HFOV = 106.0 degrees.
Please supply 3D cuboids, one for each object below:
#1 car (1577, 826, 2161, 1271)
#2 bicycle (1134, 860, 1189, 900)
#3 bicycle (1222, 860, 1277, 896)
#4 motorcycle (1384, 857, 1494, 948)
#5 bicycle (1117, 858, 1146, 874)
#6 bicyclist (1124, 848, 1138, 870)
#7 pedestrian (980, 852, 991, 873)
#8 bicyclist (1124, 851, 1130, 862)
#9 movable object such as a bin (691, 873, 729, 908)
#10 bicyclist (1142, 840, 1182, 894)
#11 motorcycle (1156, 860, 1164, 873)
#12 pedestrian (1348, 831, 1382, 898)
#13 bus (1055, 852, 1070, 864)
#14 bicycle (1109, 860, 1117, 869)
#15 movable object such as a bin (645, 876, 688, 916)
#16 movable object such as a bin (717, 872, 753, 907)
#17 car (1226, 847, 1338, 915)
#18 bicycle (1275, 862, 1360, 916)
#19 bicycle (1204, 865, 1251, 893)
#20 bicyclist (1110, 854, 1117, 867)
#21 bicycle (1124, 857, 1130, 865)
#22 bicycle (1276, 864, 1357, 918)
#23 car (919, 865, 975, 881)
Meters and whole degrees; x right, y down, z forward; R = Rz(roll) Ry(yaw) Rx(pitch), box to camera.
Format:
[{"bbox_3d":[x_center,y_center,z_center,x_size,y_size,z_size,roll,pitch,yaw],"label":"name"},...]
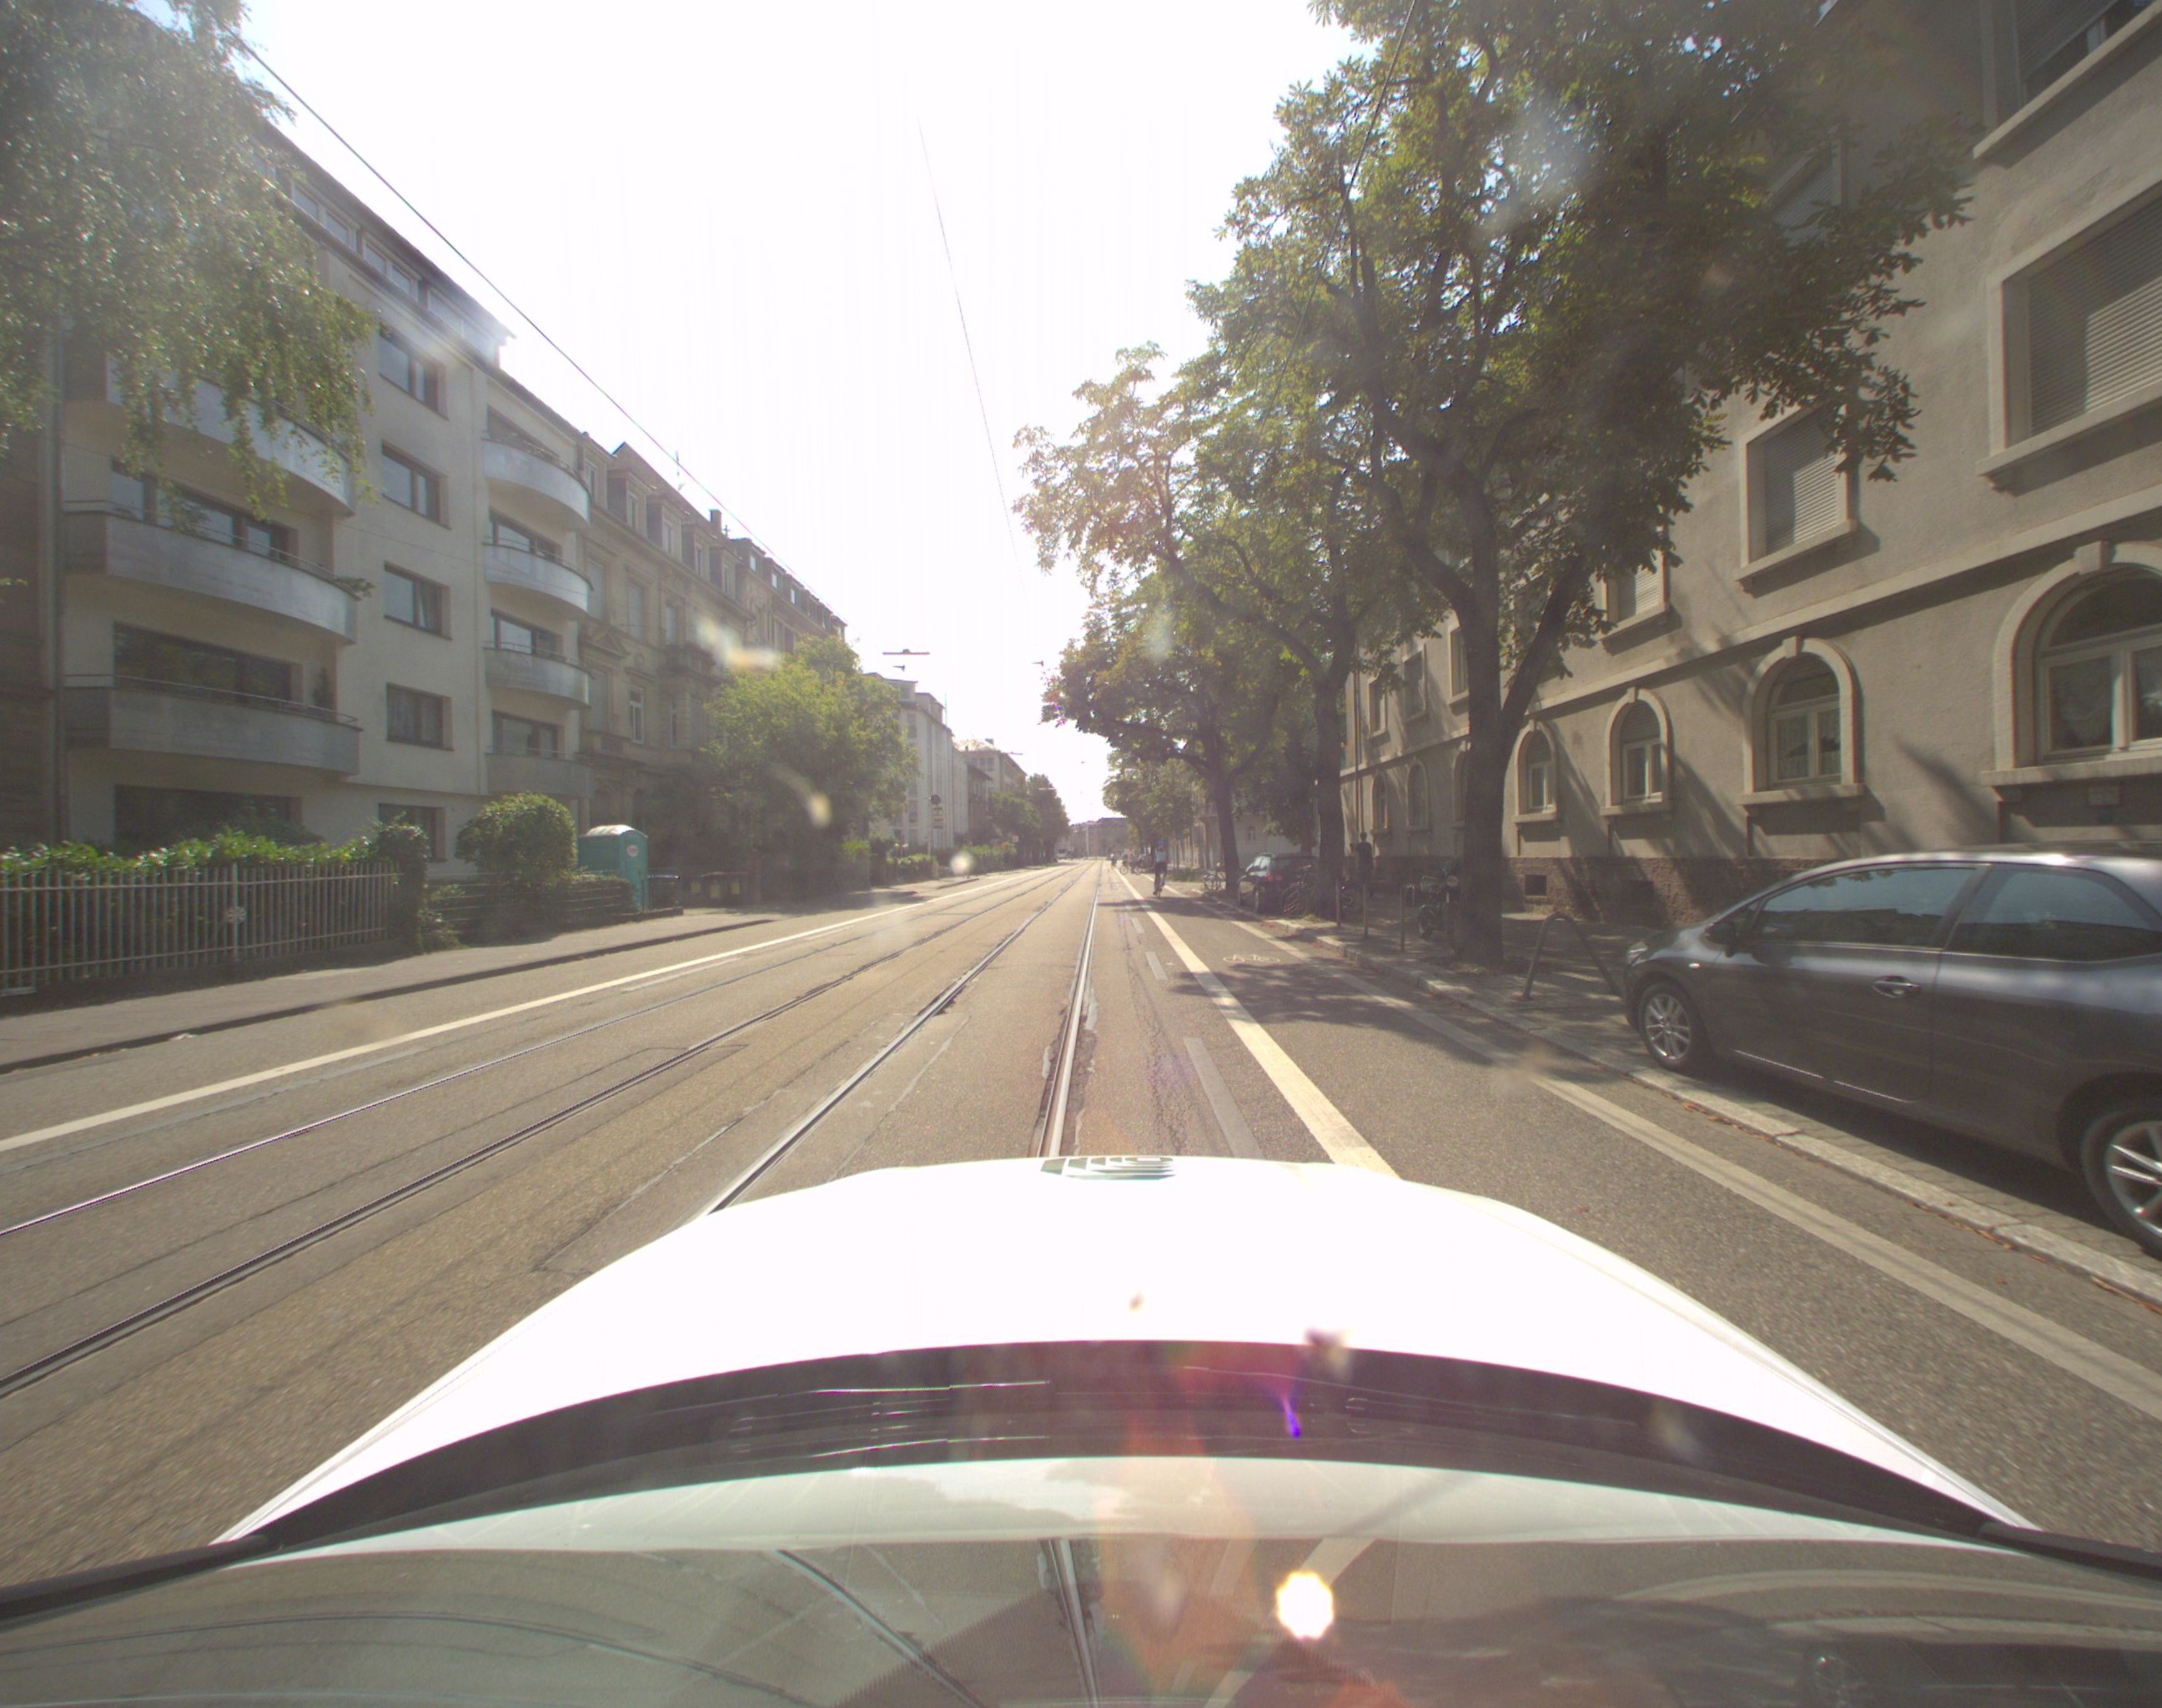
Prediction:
[{"bbox_3d":[4.734,0.645,4.260,1.834,1.532,4.116,-2,1,1],"label":"car"},{"bbox_3d":[2.879,0.891,28.749,1.138,1.269,2.727,-2,0,23],"label":"bicycle"},{"bbox_3d":[5.507,0.787,26.721,1.713,1.137,0.377,-1,-1,7],"label":"bicycle"},{"bbox_3d":[5.416,0.682,12.484,0.708,1.255,2.176,-1,0,0],"label":"motorcycle"},{"bbox_3d":[3.763,0.878,60.460,2.016,1.151,0.790,-1,-1,25],"label":"bicycle"},{"bbox_3d":[3.709,0.388,60.486,0.816,1.643,0.790,-1,-1,25],"label":"bicyclist"},{"bbox_3d":[-8.333,0.723,71.154,0.776,1.756,1.041,-2,-1,2],"label":"pedestrian"},{"bbox_3d":[5.281,0.272,93.662,0.576,1.279,0.472,-1,-1,3],"label":"bicyclist"},{"bbox_3d":[-11.785,1.147,25.884,0.783,1.076,0.804,0,-1,4],"label":"movable object such as a bin"},{"bbox_3d":[2.849,0.458,28.724,1.115,1.837,0.961,-2,-1,23],"label":"bicyclist"},{"bbox_3d":[7.087,1.119,73.536,0.547,1.068,2.331,-1,-1,2],"label":"motorcycle"},{"bbox_3d":[8.207,0.297,23.549,0.703,1.892,0.714,-1,-1,3],"label":"pedestrian"},{"bbox_3d":[-5.409,1.252,239.639,3.722,3.364,15.121,-1,-1,1],"label":"bus"},{"bbox_3d":[3.531,1.149,88.850,0.755,0.991,2.300,-1,-1,4],"label":"bicycle"},{"bbox_3d":[-11.414,1.155,22.427,0.784,1.076,0.754,0,-1,-1],"label":"movable object such as a bin"},{"bbox_3d":[-10.993,1.118,25.896,0.783,1.076,0.804,0,-1,4],"label":"movable object such as a bin"},{"bbox_3d":[5.194,0.660,21.713,1.834,1.532,4.780,-3,0,1],"label":"car"},{"bbox_3d":[5.093,0.757,17.606,1.713,1.149,0.377,-1,-1,7],"label":"bicycle"},{"bbox_3d":[5.667,0.959,31.617,1.706,1.032,0.567,-1,-1,2],"label":"bicycle"},{"bbox_3d":[3.523,0.664,88.806,0.755,1.391,0.780,-1,-1,3],"label":"bicyclist"},{"bbox_3d":[5.300,0.814,93.716,0.585,0.939,2.174,-1,-1,4],"label":"bicycle"},{"bbox_3d":[4.967,0.775,17.223,1.597,1.104,0.399,-1,-1,7],"label":"bicycle"},{"bbox_3d":[-11.463,1.628,69.676,4.193,1.184,2.010,-3,-1,21],"label":"car"}]
